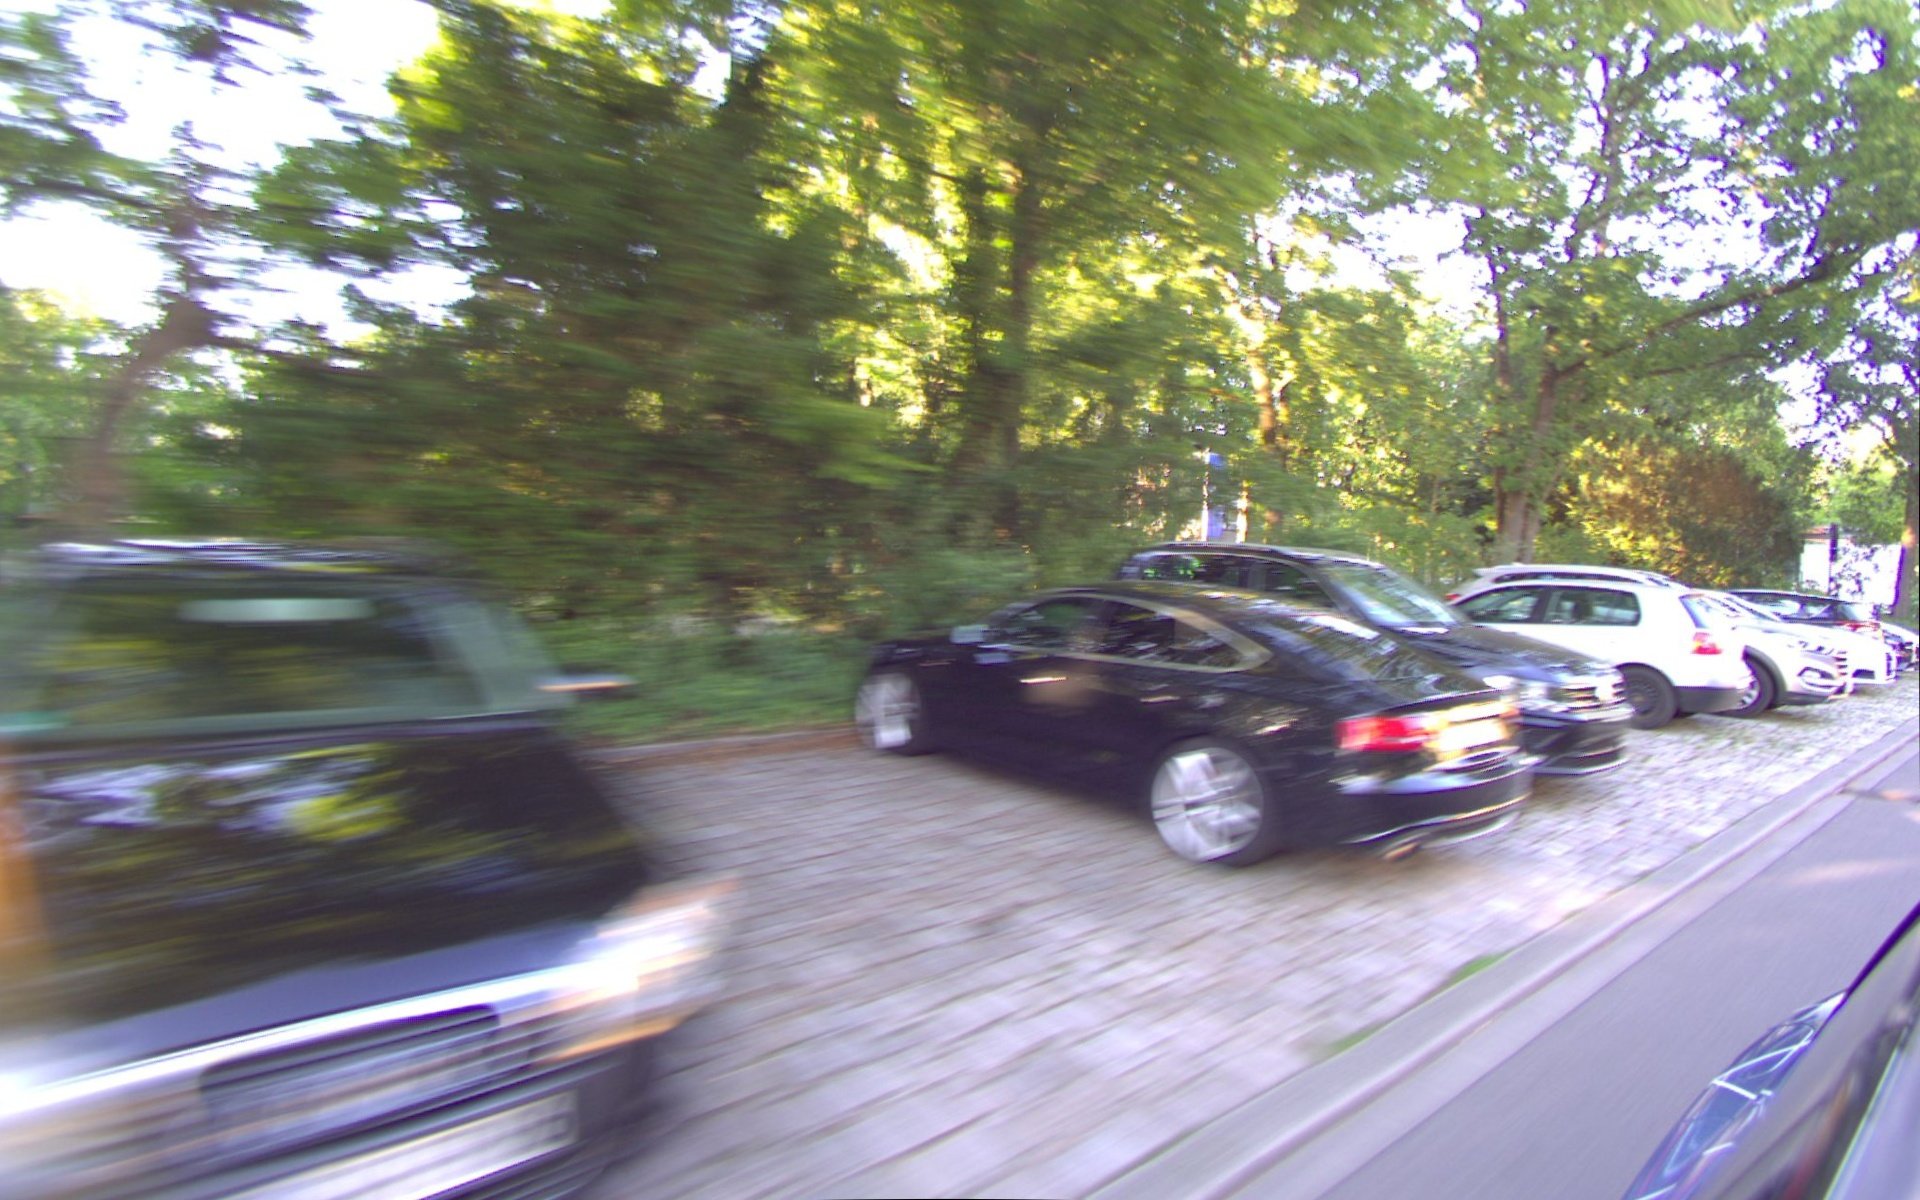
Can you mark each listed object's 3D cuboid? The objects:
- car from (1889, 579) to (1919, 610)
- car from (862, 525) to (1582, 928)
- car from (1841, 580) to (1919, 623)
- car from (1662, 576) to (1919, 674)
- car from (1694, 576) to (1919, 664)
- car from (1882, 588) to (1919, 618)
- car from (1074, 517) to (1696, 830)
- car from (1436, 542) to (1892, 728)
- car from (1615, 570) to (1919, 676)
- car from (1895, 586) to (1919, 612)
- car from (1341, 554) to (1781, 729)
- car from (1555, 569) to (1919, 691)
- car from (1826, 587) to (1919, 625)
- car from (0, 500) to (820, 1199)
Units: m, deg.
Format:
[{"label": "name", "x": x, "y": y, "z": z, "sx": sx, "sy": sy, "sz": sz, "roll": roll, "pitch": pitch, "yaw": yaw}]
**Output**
[{"label": "car", "x": 59.686, "y": -0.203, "z": 61.564, "sx": 1.887, "sy": 1.801, "sz": 4.374, "roll": 0, "pitch": 5, "yaw": -41}, {"label": "car", "x": 1.253, "y": 0.407, "z": 6.236, "sx": 1.695, "sy": 1.573, "sz": 3.997, "roll": 0, "pitch": 5, "yaw": -40}, {"label": "car", "x": 48.496, "y": 0.128, "z": 51.762, "sx": 1.883, "sy": 1.938, "sz": 4.864, "roll": -1, "pitch": 5, "yaw": -40}, {"label": "car", "x": 16.371, "y": 0.429, "z": 19.783, "sx": 1.695, "sy": 1.573, "sz": 3.996, "roll": 2, "pitch": 2, "yaw": -40}, {"label": "car", "x": 18.255, "y": 0.358, "z": 21.491, "sx": 1.695, "sy": 1.573, "sz": 3.996, "roll": -1, "pitch": 4, "yaw": -40}, {"label": "car", "x": 54.102, "y": 0.276, "z": 55.948, "sx": 1.887, "sy": 1.555, "sz": 4.374, "roll": 0, "pitch": 5, "yaw": -41}, {"label": "car", "x": 3.159, "y": 0.310, "z": 8.296, "sx": 1.850, "sy": 1.810, "sz": 4.256, "roll": 0, "pitch": 5, "yaw": -40}, {"label": "car", "x": 8.704, "y": 0.262, "z": 12.836, "sx": 2.000, "sy": 1.826, "sz": 4.317, "roll": 0, "pitch": 4, "yaw": -41}, {"label": "car", "x": 14.470, "y": 0.344, "z": 18.325, "sx": 1.721, "sy": 1.573, "sz": 3.996, "roll": 2, "pitch": 2, "yaw": -40}, {"label": "car", "x": 61.676, "y": 0.066, "z": 63.366, "sx": 1.697, "sy": 1.572, "sz": 4.374, "roll": 0, "pitch": 5, "yaw": -41}, {"label": "car", "x": 6.712, "y": 0.322, "z": 11.672, "sx": 1.695, "sy": 1.573, "sz": 3.996, "roll": 0, "pitch": 3, "yaw": -40}, {"label": "car", "x": 12.575, "y": 0.366, "z": 16.566, "sx": 1.824, "sy": 1.573, "sz": 4.495, "roll": 0, "pitch": 3, "yaw": -40}, {"label": "car", "x": 46.373, "y": 0.318, "z": 50.190, "sx": 1.882, "sy": 1.572, "sz": 4.939, "roll": 0, "pitch": 5, "yaw": -41}, {"label": "car", "x": -2.218, "y": 0.458, "z": 3.159, "sx": 1.699, "sy": 1.466, "sz": 4.172, "roll": 0, "pitch": 4, "yaw": -37}]
